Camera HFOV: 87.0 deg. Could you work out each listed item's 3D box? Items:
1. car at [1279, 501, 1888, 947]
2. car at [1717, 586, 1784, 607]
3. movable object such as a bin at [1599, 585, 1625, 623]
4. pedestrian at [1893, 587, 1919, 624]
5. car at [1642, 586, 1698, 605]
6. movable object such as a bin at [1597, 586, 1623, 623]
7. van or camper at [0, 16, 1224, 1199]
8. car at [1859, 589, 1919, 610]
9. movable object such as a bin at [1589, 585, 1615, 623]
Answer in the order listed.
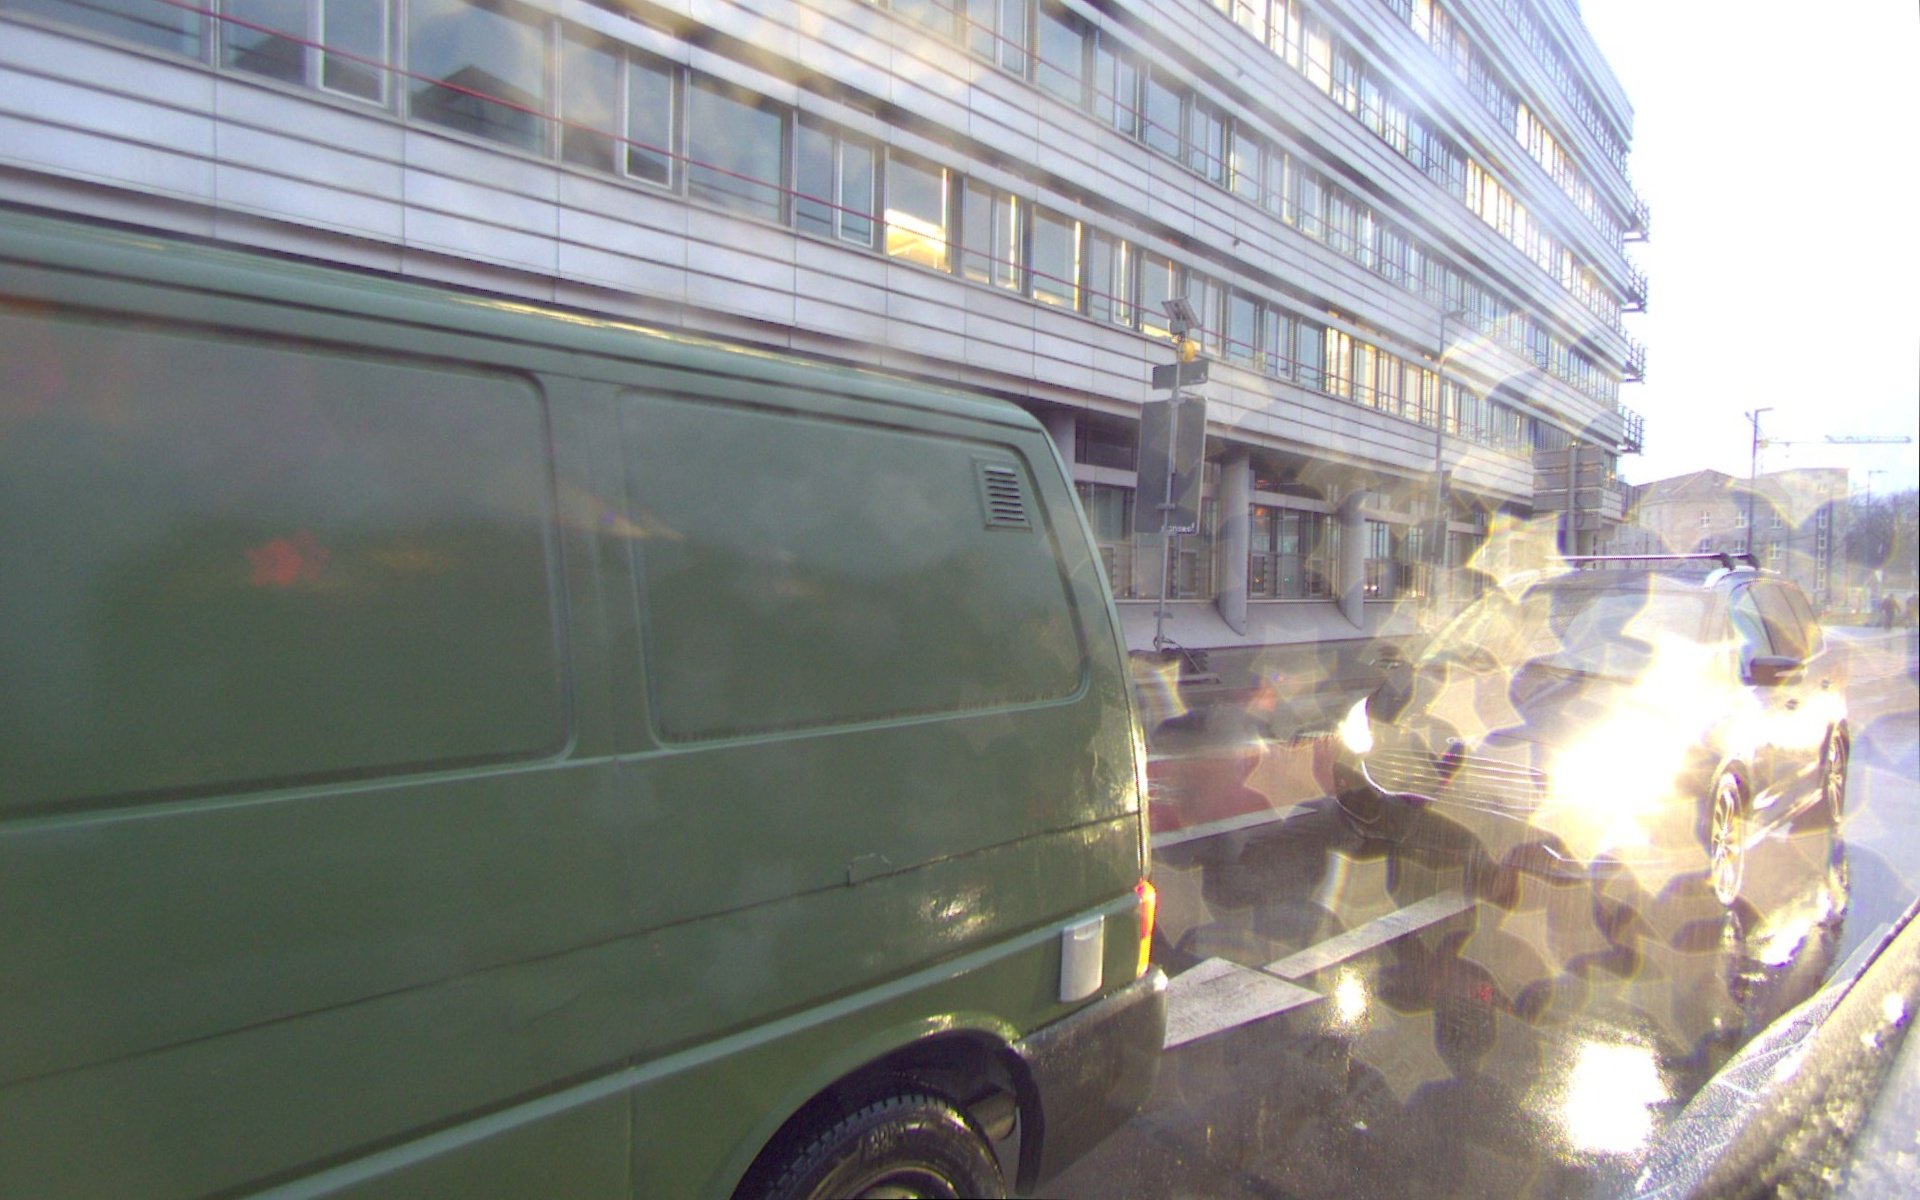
[{"bbox_3d":[4.132,0.500,6.355,4.587,1.834,1.887,0,0,-39],"label":"car"},{"bbox_3d":[71.177,-0.299,91.194,1.958,1.782,4.386,0,1,-24],"label":"car"},{"bbox_3d":[26.081,0.167,40.467,0.826,1.495,0.665,0,1,-44],"label":"movable object such as a bin"},{"bbox_3d":[45.574,0.266,48.759,0.953,1.722,0.746,0,4,-44],"label":"pedestrian"},{"bbox_3d":[68.624,-0.454,97.849,1.958,1.693,4.013,0,1,-24],"label":"car"},{"bbox_3d":[25.506,0.169,39.732,0.826,1.446,0.665,0,1,-44],"label":"movable object such as a bin"},{"bbox_3d":[-1.668,0.455,1.309,4.341,1.931,1.760,0,0,-41],"label":"van or camper"},{"bbox_3d":[75.068,-0.043,81.338,1.743,1.556,3.775,1,1,-21],"label":"car"},{"bbox_3d":[24.847,0.154,39.148,0.826,1.446,0.665,0,1,-44],"label":"movable object such as a bin"}]
